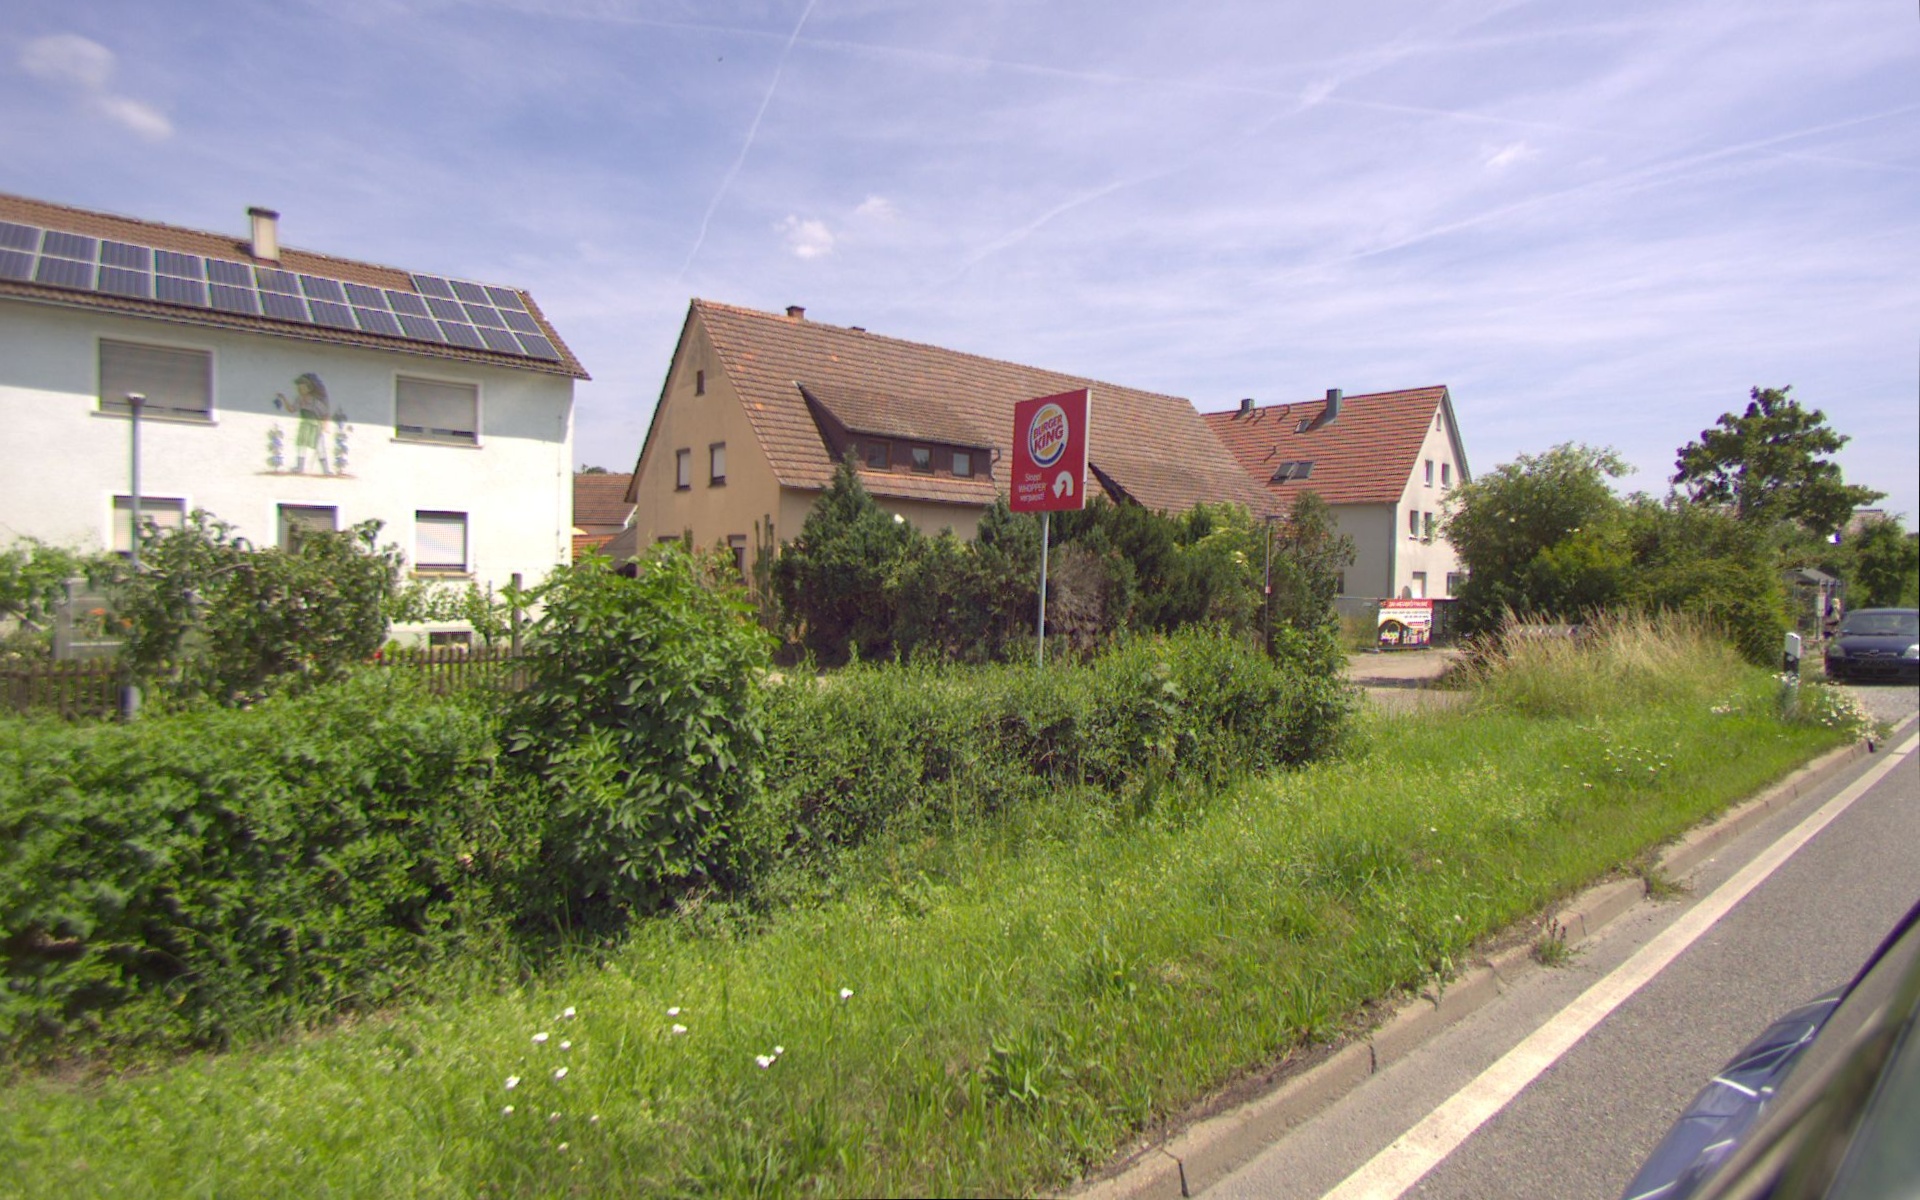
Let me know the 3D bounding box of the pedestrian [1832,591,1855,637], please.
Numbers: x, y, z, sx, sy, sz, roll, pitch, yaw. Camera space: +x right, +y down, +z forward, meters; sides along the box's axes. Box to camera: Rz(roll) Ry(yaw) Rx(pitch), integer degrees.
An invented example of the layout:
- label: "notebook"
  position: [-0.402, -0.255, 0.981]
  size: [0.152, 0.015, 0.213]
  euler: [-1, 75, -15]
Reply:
- label: "pedestrian"
  position: [30.994, 0.485, 35.508]
  size: [0.517, 1.568, 0.557]
  euler: [0, 1, 31]

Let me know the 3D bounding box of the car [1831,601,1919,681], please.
- label: "car"
  position: [19.263, 0.793, 20.753]
  size: [3.491, 1.504, 1.633]
  euler: [0, -2, -42]
